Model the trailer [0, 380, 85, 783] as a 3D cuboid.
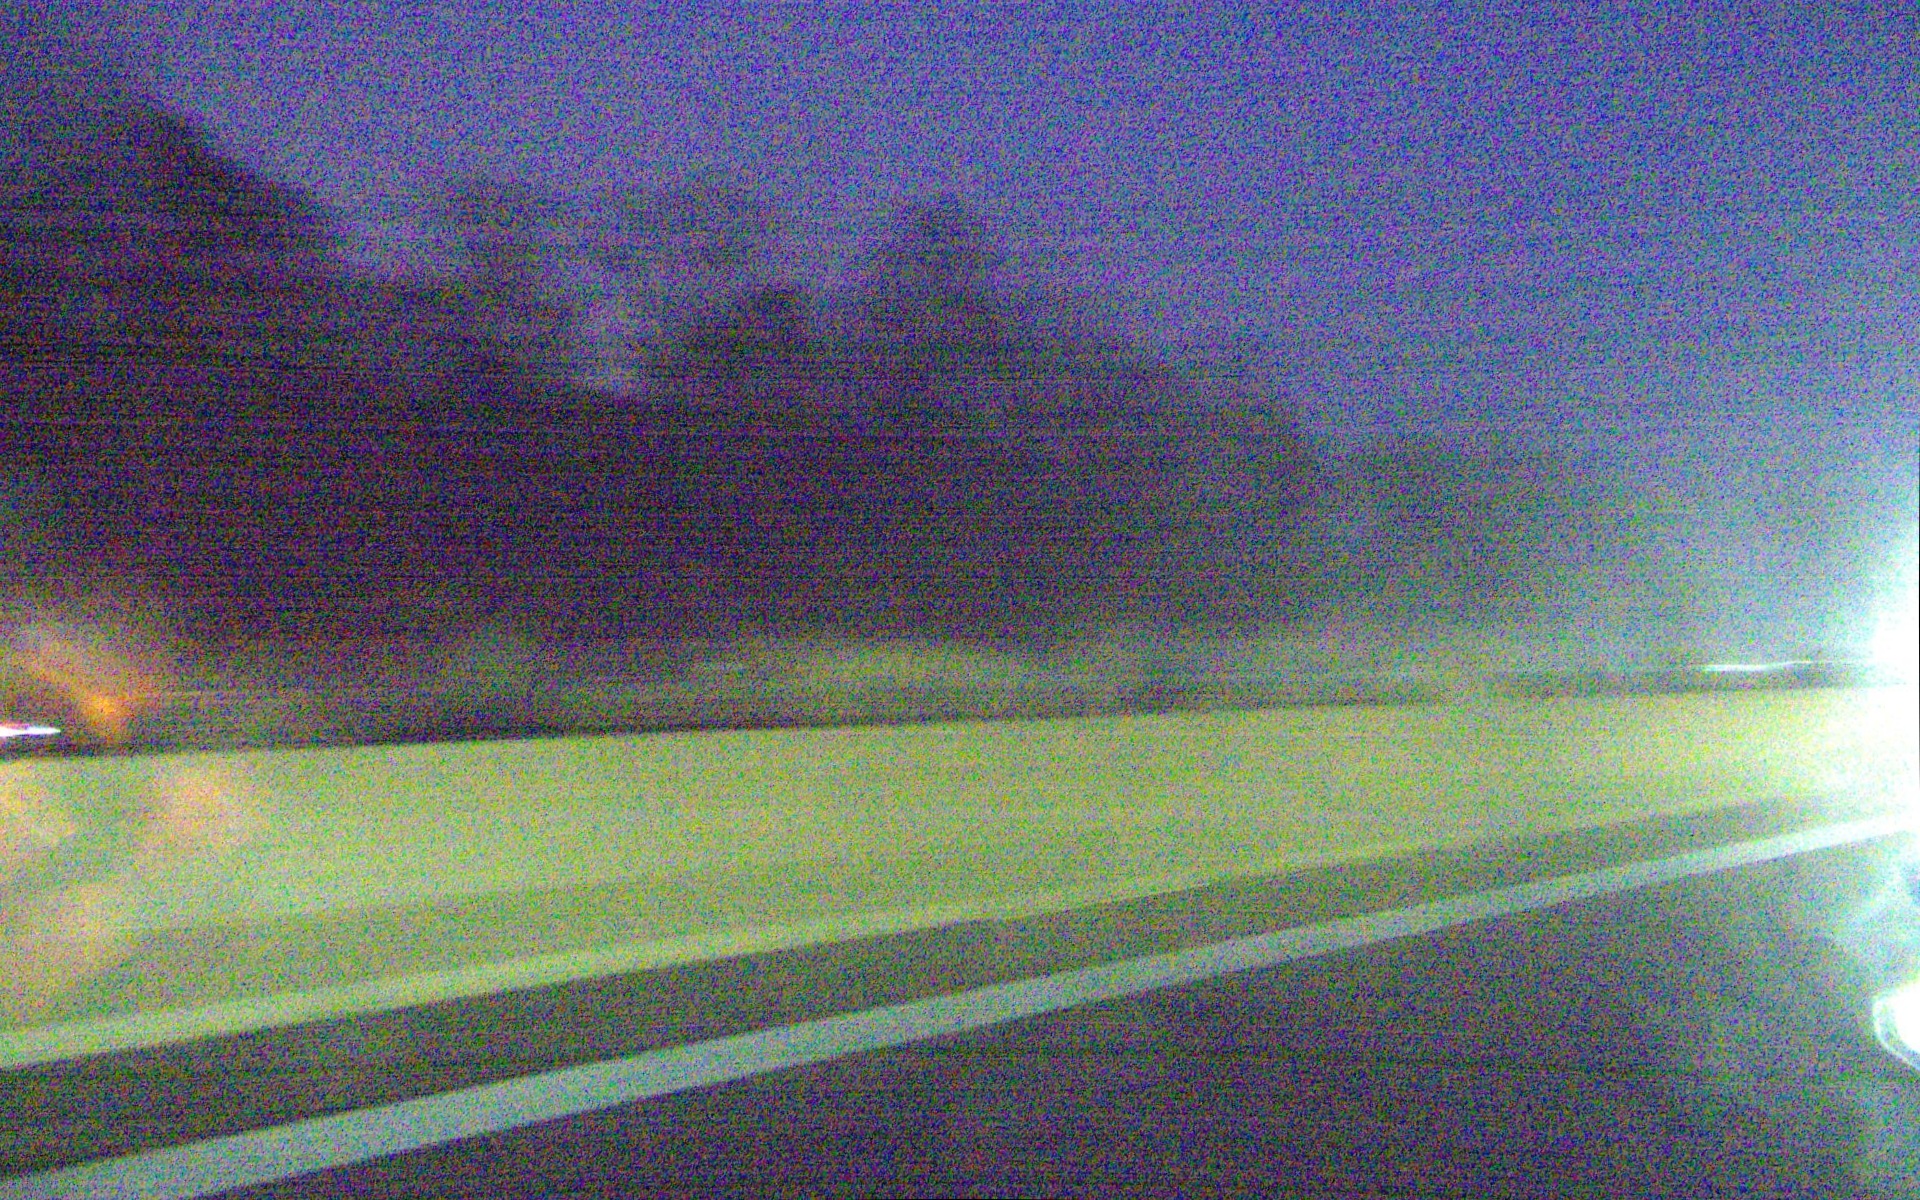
[{"bbox_3d":[-16.301,-0.300,10.799,10.051,4.888,2.393,1,1,-31],"label":"trailer"}]
